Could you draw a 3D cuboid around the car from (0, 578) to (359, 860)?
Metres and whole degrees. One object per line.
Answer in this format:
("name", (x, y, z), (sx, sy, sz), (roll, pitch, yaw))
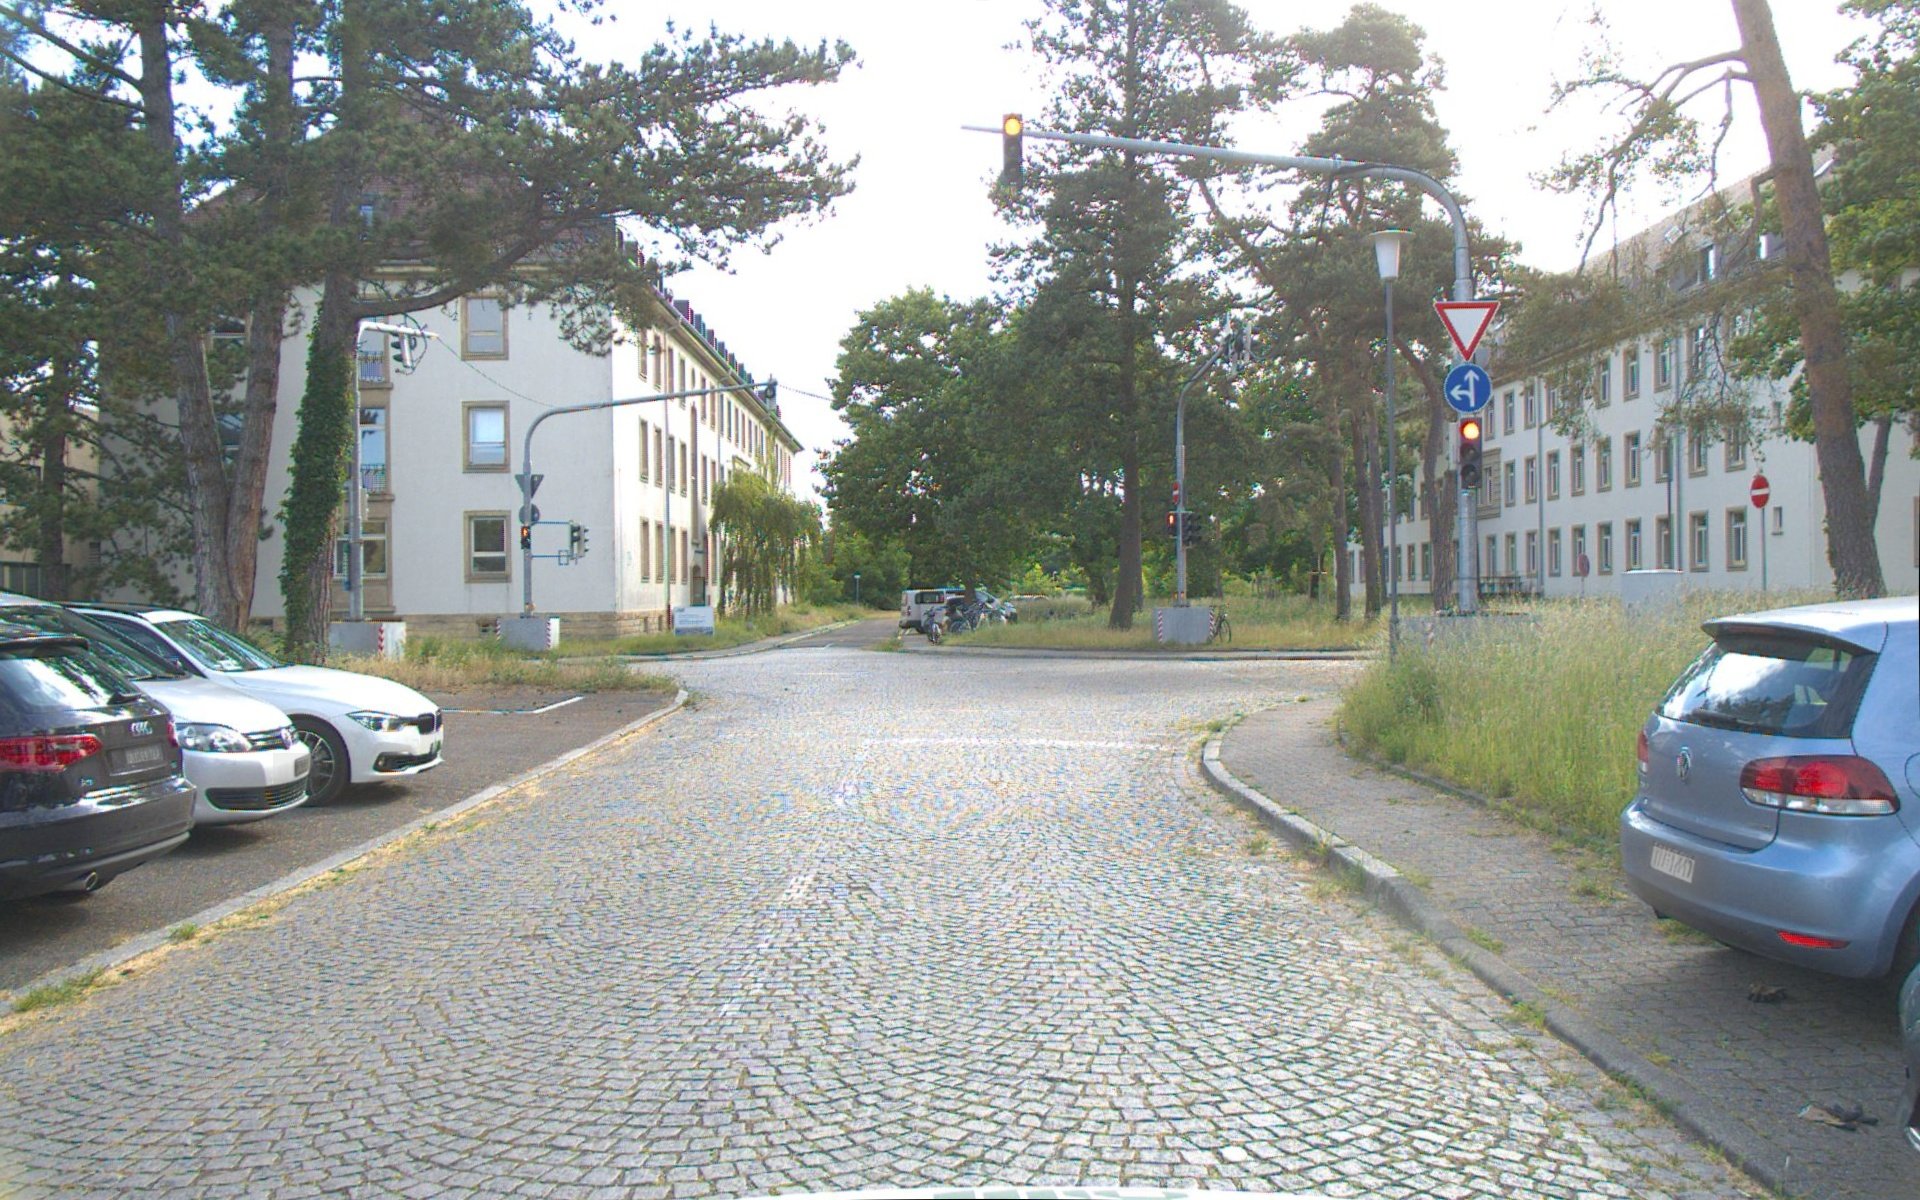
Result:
("car", (-6.057, 0.681, 10.595), (3.755, 1.635, 1.734), (1, 0, -4))

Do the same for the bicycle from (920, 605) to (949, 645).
("bicycle", (-0.769, 0.763, 50.854), (0.711, 1.127, 2.462), (-5, 0, 1))

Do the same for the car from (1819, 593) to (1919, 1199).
("car", (4.505, 0.705, 3.547), (4.423, 1.509, 1.806), (-1, 0, -3))

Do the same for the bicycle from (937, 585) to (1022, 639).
("bicycle", (0.640, 0.397, 55.156), (2.722, 1.723, 1.119), (-1, 0, -6))

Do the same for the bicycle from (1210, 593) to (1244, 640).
("bicycle", (6.995, 0.427, 43.449), (0.708, 1.189, 2.738), (1, 0, 6))

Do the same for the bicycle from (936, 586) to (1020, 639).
("bicycle", (0.602, 0.423, 56.349), (2.723, 1.723, 1.118), (-1, 0, -8))

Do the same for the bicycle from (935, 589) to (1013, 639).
("bicycle", (0.509, 0.516, 59.913), (2.717, 1.724, 1.121), (1, 0, 3))

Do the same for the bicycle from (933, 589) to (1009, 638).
("bicycle", (0.412, 0.501, 61.250), (2.718, 1.724, 1.120), (1, 0, 0))

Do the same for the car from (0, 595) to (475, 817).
("car", (-6.293, 0.773, 13.022), (4.390, 1.467, 1.829), (3, 0, -4))

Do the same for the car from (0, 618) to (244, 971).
("car", (-5.645, 0.795, 7.786), (3.758, 1.433, 1.695), (2, 0, -2))

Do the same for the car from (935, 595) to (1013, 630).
("car", (0.569, 0.509, 69.547), (3.077, 1.378, 1.618), (-1, 0, -7))

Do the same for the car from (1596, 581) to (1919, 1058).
("car", (4.577, 0.657, 6.156), (3.765, 1.496, 1.641), (-2, 0, -2))

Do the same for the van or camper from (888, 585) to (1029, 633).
("van or camper", (-0.089, 0.392, 73.115), (5.931, 1.983, 1.992), (-1, 0, -15))
